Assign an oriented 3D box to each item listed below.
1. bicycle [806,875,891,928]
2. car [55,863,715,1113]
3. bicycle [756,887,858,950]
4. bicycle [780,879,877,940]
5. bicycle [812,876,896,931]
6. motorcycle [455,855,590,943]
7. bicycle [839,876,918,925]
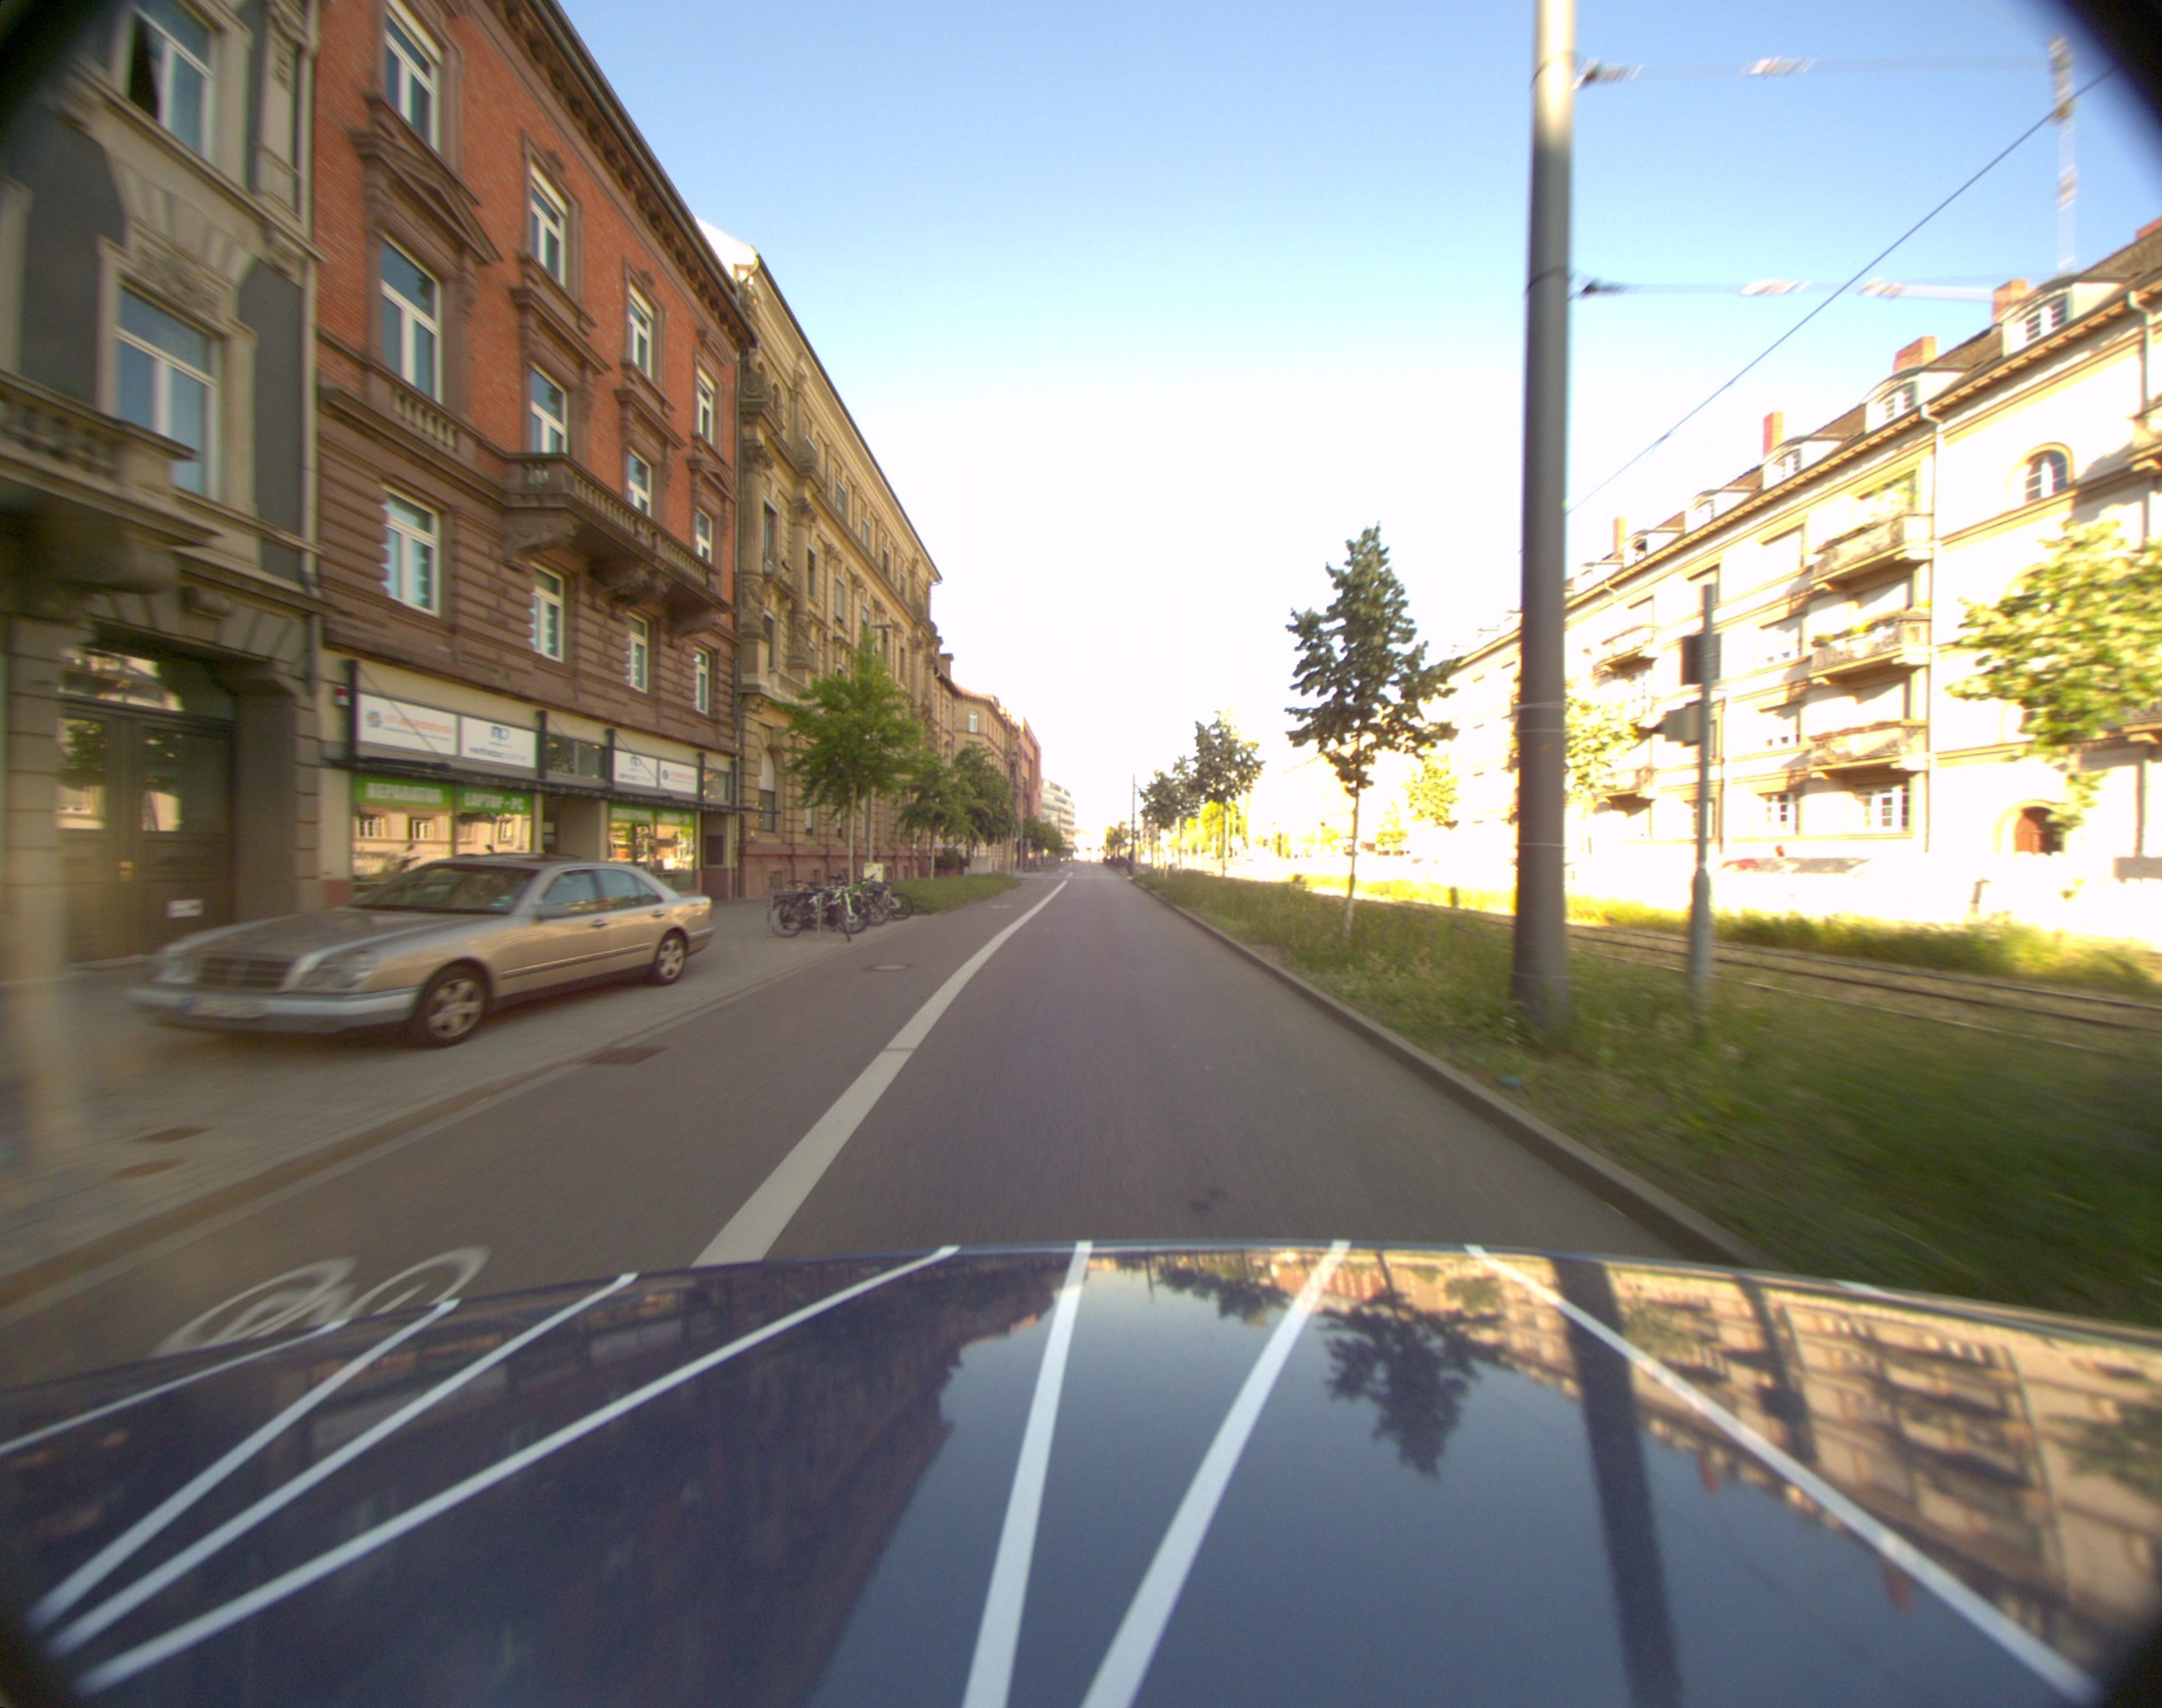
[{"bbox_3d":[-5.065,1.028,16.584,1.692,1.112,0.530,0,0,3],"label":"bicycle"},{"bbox_3d":[-5.588,0.876,7.200,1.694,1.476,4.744,2,0,3],"label":"car"},{"bbox_3d":[-4.758,1.106,13.246,1.613,1.045,0.478,0,0,3],"label":"bicycle"},{"bbox_3d":[-4.851,1.054,14.628,1.692,1.112,0.530,0,0,3],"label":"bicycle"},{"bbox_3d":[-4.750,1.029,15.936,1.583,1.112,0.577,0,0,3],"label":"bicycle"},{"bbox_3d":[-9.587,0.722,13.173,0.788,1.413,2.054,0,0,2],"label":"motorcycle"},{"bbox_3d":[-4.720,1.081,17.775,1.693,1.112,0.530,0,0,-4],"label":"bicycle"}]
